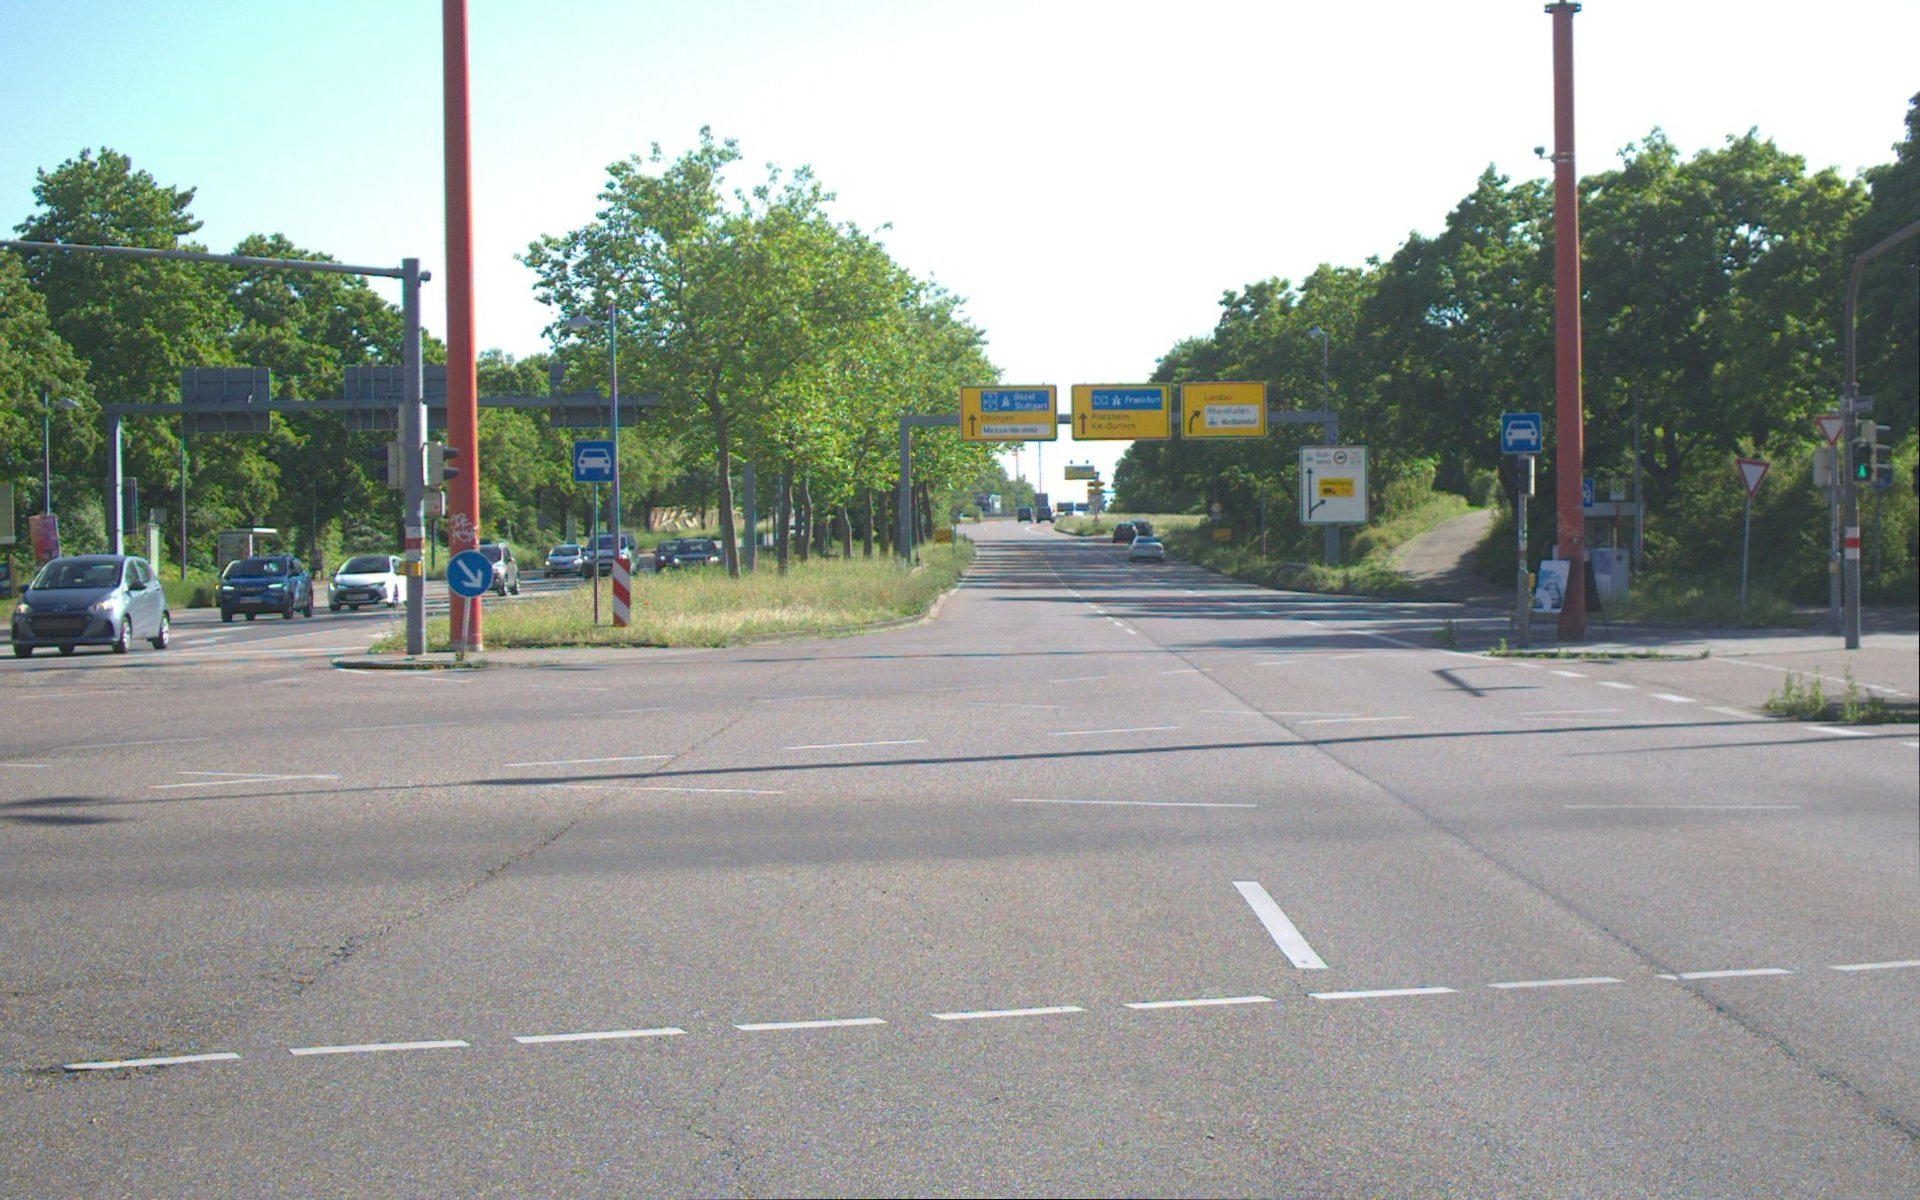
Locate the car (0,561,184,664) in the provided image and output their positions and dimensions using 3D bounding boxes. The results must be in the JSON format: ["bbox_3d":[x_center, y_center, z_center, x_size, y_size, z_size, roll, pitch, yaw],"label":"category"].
[{"bbox_3d":[-13.113,0.168,52.064,1.701,1.416,4.000,3,0,1],"label":"car"}]

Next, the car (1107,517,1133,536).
[{"bbox_3d":[11.302,-5.204,243.149,1.738,1.337,3.081,0,1,1],"label":"car"}]

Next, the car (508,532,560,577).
[{"bbox_3d":[-19.583,-2.076,158.191,2.003,2.007,4.000,0,1,-2],"label":"car"}]

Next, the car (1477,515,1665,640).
[{"bbox_3d":[9.615,-0.379,53.863,1.996,1.881,3.995,0,1,24],"label":"car"}]

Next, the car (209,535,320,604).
[{"bbox_3d":[-16.117,-0.710,79.823,1.704,1.553,3.803,1,1,2],"label":"car"}]

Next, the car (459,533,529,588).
[{"bbox_3d":[-15.013,-1.296,110.926,1.625,1.733,4.000,0,1,1],"label":"car"}]

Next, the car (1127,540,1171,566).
[{"bbox_3d":[10.156,-2.545,184.919,2.054,1.366,4.392,-1,1,-1],"label":"car"}]

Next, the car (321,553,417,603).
[{"bbox_3d":[-15.983,-0.609,93.136,2.003,1.303,4.000,-1,1,-2],"label":"car"}]

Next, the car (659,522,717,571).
[{"bbox_3d":[-9.922,-1.939,125.643,1.657,1.741,4.000,1,1,2],"label":"car"}]

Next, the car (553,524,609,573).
[{"bbox_3d":[-15.781,-2.135,143.339,2.003,2.007,4.000,0,1,-2],"label":"car"}]

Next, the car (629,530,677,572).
[{"bbox_3d":[-14.200,-2.254,159.320,2.003,1.919,4.000,0,1,-2],"label":"car"}]
